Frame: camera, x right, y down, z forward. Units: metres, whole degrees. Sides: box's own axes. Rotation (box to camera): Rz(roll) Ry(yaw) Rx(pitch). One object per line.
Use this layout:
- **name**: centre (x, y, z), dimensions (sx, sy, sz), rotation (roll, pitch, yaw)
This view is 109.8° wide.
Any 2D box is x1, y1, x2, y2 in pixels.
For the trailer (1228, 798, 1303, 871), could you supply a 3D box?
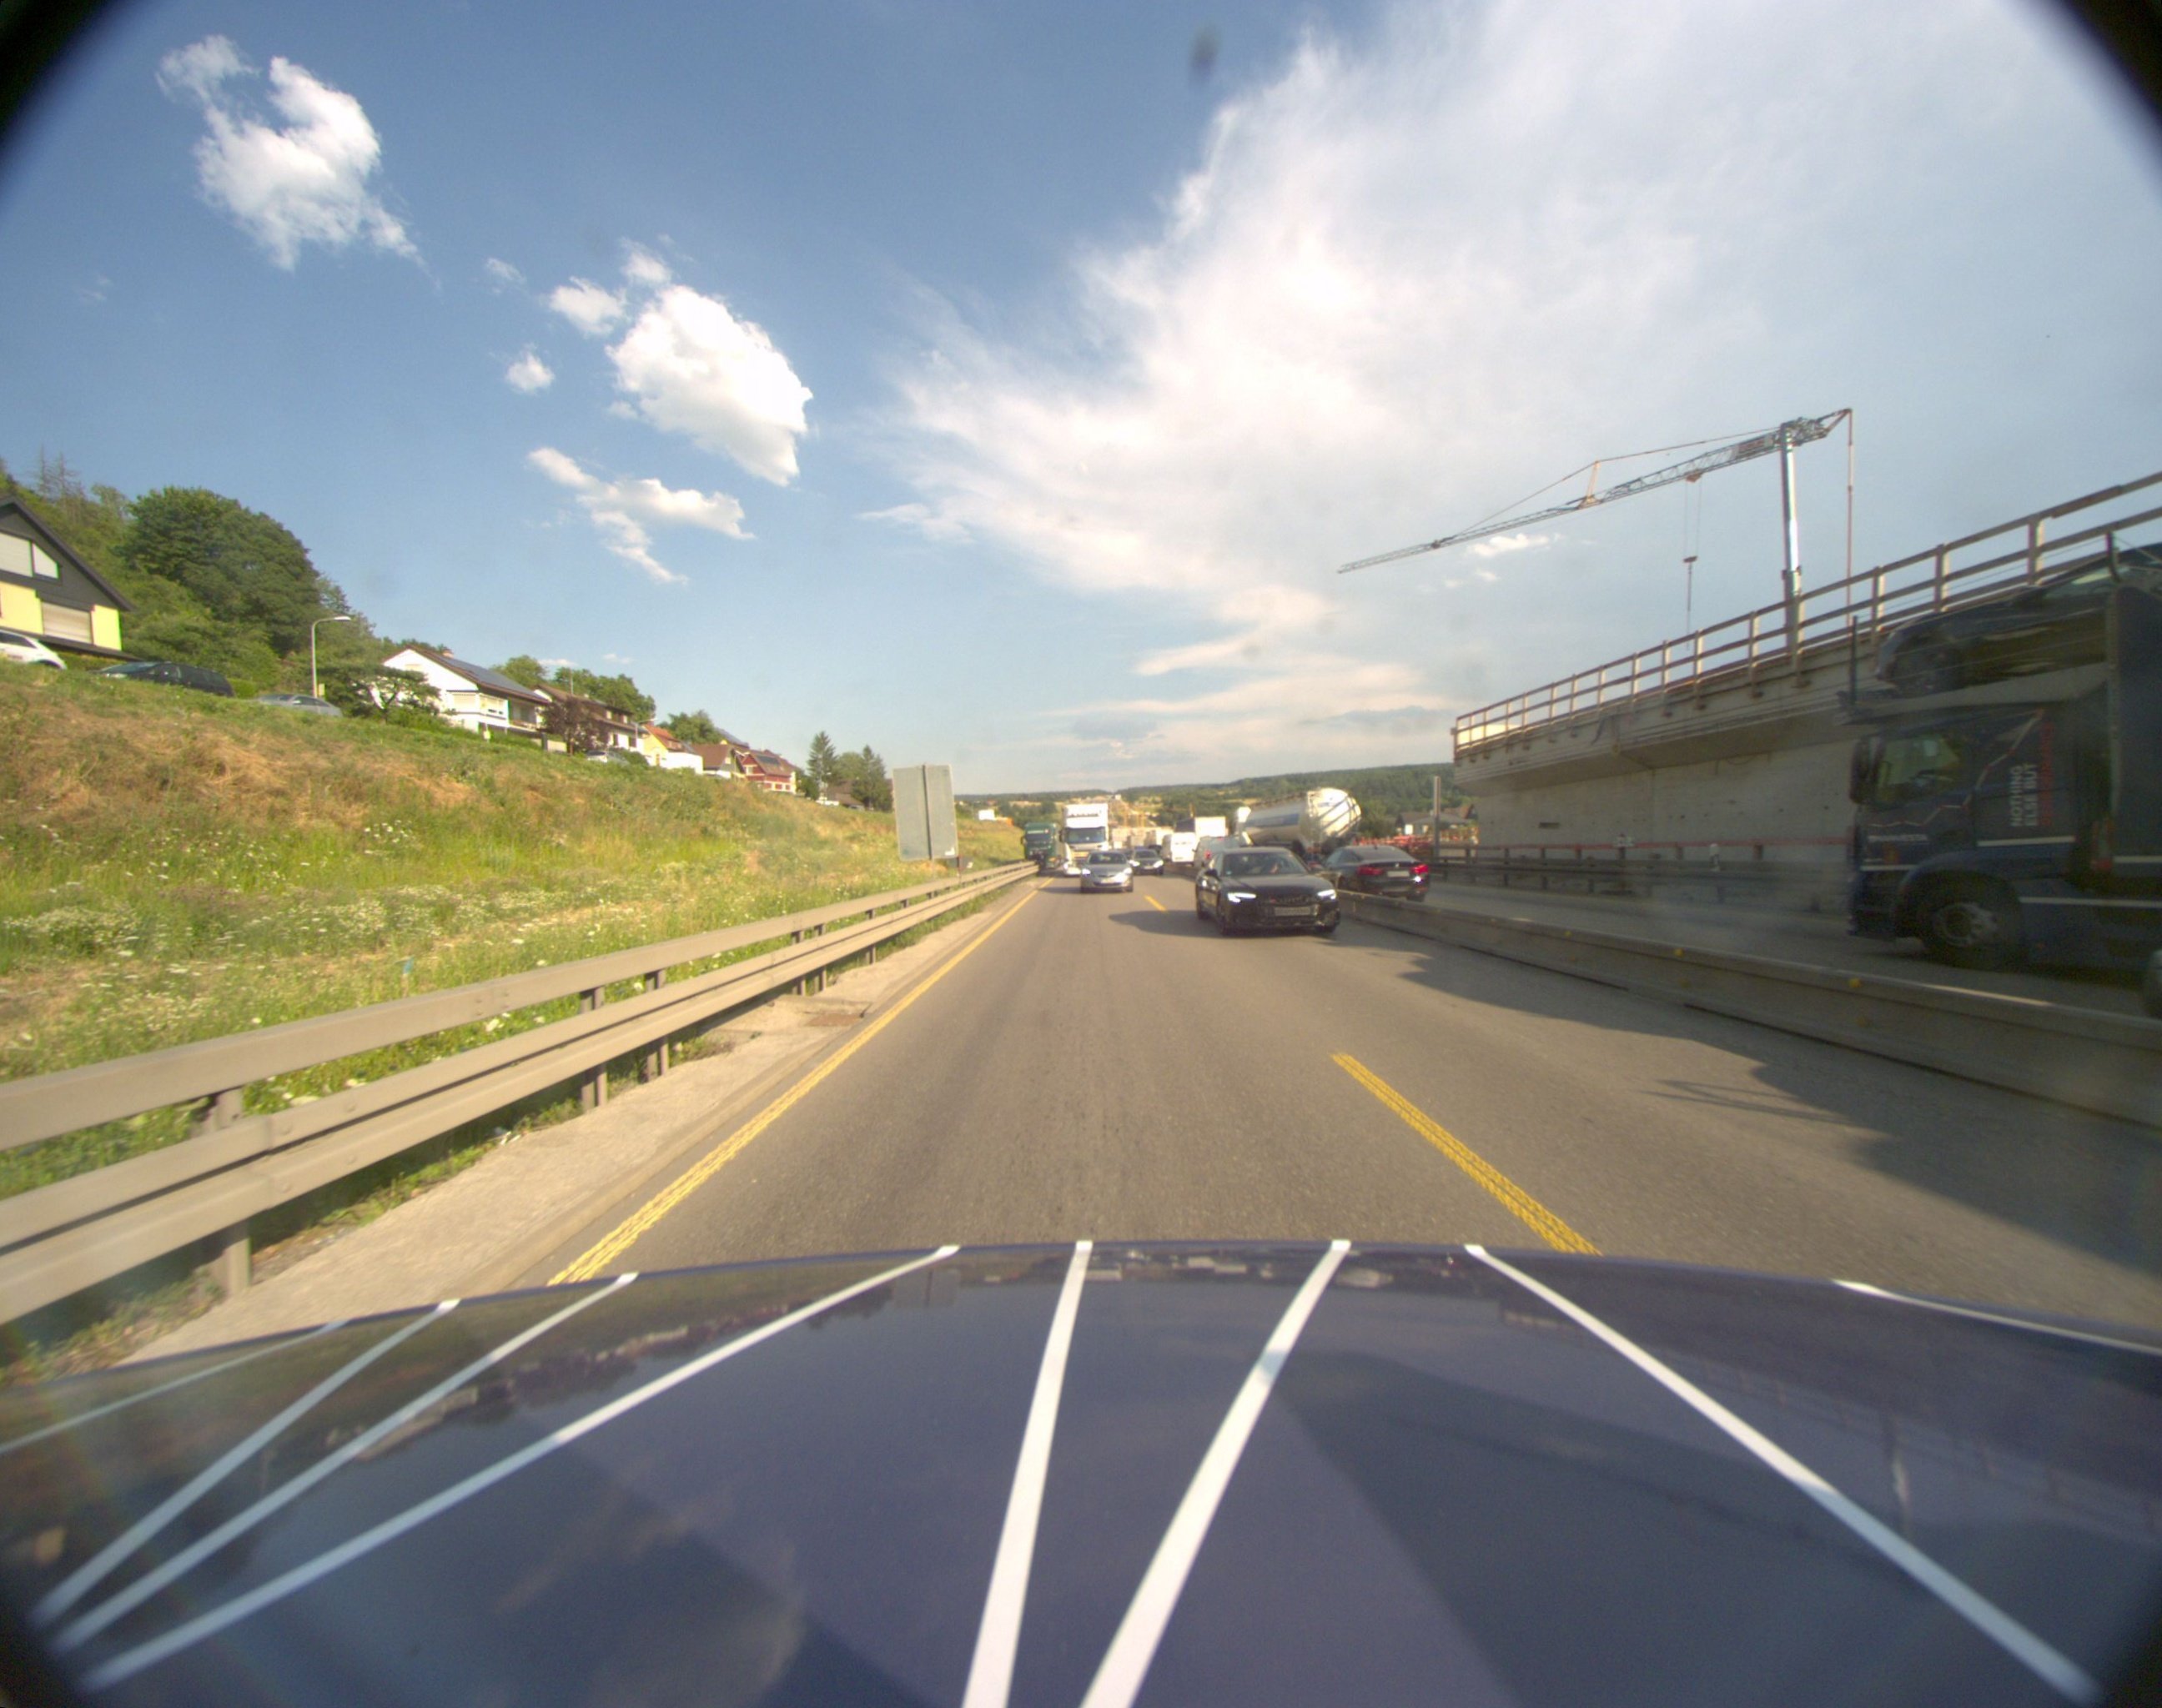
- **trailer**: centre (10.475, -1.073, 43.773), dimensions (2.659, 3.828, 6.428), rotation (-2, 1, 0)

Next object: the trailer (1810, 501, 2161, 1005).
- **trailer**: centre (10.004, -0.833, 5.359), dimensions (2.778, 4.008, 7.206), rotation (-2, 1, 0)

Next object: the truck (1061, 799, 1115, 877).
- **truck**: centre (0.480, -0.949, 46.553), dimensions (2.741, 4.033, 12.669), rotation (-2, 1, 1)

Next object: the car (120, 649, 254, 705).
- **car**: centre (-32.752, -6.460, 27.978), dimensions (1.348, 1.315, 3.340), rotation (-2, 1, -11)

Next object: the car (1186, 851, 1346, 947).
- **car**: centre (3.158, 0.690, 13.892), dimensions (1.873, 1.411, 4.348), rotation (-1, 1, 0)

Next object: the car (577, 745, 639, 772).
- **car**: centre (-34.808, -7.008, 56.004), dimensions (1.998, 1.434, 3.999), rotation (-2, 1, 0)

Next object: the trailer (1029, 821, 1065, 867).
- **trailer**: centre (-3.036, -0.968, 71.774), dimensions (2.554, 3.911, 12.077), rotation (-2, 1, 1)

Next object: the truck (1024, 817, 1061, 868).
- **truck**: centre (-3.153, -0.955, 64.381), dimensions (2.547, 3.992, 6.071), rotation (-2, 1, 1)

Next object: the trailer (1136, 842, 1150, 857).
- **trailer**: centre (7.837, -0.578, 96.660), dimensions (1.452, 1.843, 2.983), rotation (-2, 1, 1)

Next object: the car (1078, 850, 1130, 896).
- **car**: centre (0.750, 0.614, 26.499), dimensions (1.671, 1.425, 3.524), rotation (-1, 1, 0)

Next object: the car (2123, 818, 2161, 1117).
- **car**: centre (6.512, 0.592, 1.945), dimensions (1.761, 1.569, 4.338), rotation (-2, 1, 1)

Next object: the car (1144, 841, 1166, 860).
- **car**: centre (7.621, -0.366, 78.359), dimensions (1.785, 1.832, 4.852), rotation (-2, 1, 0)

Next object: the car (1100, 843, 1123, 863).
- **car**: centre (2.769, -0.053, 69.257), dimensions (1.918, 1.746, 4.000), rotation (-1, 0, 0)

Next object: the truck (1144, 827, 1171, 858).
- **truck**: centre (11.031, -1.660, 110.271), dimensions (2.834, 4.239, 10.071), rotation (-2, 1, 1)

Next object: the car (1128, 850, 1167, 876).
- **car**: centre (3.641, 0.444, 42.320), dimensions (1.692, 1.293, 3.882), rotation (-2, 1, -1)

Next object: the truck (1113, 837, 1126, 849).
- **truck**: centre (12.691, -3.566, 252.366), dimensions (3.876, 3.766, 9.141), rotation (-2, 1, 1)

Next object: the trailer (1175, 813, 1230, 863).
- **trailer**: centre (10.875, -1.405, 69.447), dimensions (2.932, 4.013, 13.772), rotation (-2, 1, 1)

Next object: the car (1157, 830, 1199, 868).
- **car**: centre (7.239, -0.422, 57.353), dimensions (1.999, 2.607, 7.408), rotation (-2, 1, -1)

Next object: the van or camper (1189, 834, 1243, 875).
- **van or camper**: centre (7.166, 0.004, 40.798), dimensions (1.863, 2.002, 5.294), rotation (-2, 1, -1)

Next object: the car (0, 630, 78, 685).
- **car**: centre (-32.571, -5.992, 22.285), dimensions (1.348, 1.225, 3.898), rotation (-2, 1, -7)

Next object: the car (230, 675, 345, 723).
- **car**: centre (-33.424, -6.503, 32.133), dimensions (1.451, 1.364, 3.554), rotation (-2, 1, -9)

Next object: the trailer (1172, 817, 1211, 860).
- **trailer**: centre (10.983, -1.497, 76.093), dimensions (2.932, 4.013, 6.222), rotation (-2, 1, 1)

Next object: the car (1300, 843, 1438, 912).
- **car**: centre (6.917, 0.474, 18.793), dimensions (1.713, 1.437, 4.599), rotation (-2, 1, 1)

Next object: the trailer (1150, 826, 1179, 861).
- **trailer**: centre (10.951, -1.411, 100.878), dimensions (2.834, 4.258, 8.734), rotation (-2, 1, 1)

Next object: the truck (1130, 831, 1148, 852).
- **truck**: centre (11.754, -2.433, 154.374), dimensions (2.873, 4.038, 7.598), rotation (-2, 1, 1)

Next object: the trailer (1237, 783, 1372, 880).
- **trailer**: centre (10.442, -0.989, 37.505), dimensions (2.659, 3.828, 13.441), rotation (-2, 1, 0)

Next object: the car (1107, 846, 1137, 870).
- **car**: centre (3.028, 0.291, 56.736), dimensions (1.998, 1.739, 4.000), rotation (-1, 0, 0)
